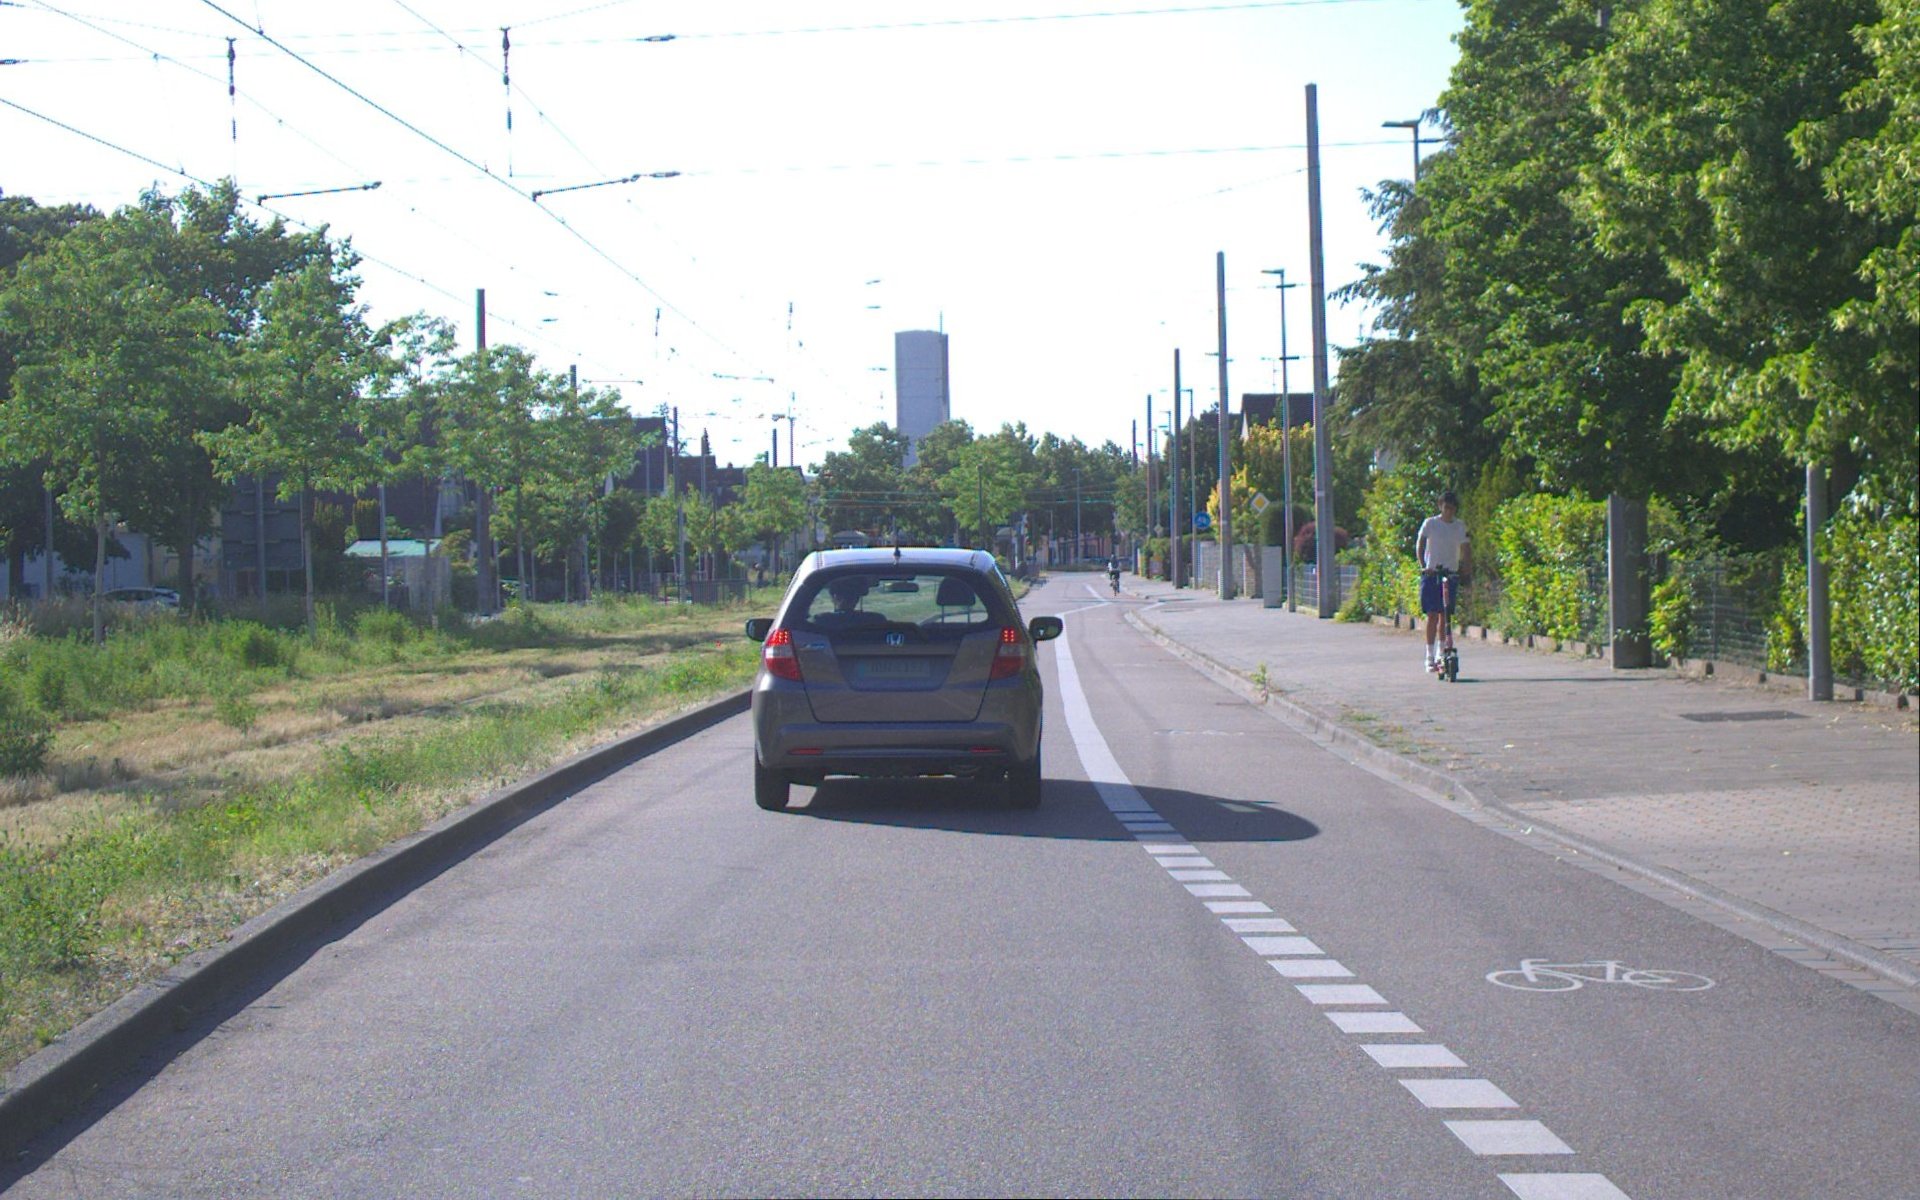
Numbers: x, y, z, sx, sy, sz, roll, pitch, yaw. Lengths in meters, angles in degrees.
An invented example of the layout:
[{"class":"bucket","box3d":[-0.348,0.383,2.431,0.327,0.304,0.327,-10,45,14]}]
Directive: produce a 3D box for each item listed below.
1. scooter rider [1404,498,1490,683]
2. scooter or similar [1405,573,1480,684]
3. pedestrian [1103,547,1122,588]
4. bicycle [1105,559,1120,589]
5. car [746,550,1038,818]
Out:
[{"class":"scooter rider","box3d":[5.086,-0.108,35.945,0.716,1.894,0.935,-2,1,-1]},{"class":"scooter or similar","box3d":[5.036,0.285,35.953,0.539,1.114,1.417,-2,1,-1]},{"class":"pedestrian","box3d":[6.750,-1.437,152.345,0.722,1.794,1.164,-2,1,0]},{"class":"bicycle","box3d":[6.756,-1.163,152.303,0.512,1.237,3.090,-2,1,0]},{"class":"car","box3d":[-0.342,0.453,20.971,1.624,1.494,3.456,0,1,1]}]
